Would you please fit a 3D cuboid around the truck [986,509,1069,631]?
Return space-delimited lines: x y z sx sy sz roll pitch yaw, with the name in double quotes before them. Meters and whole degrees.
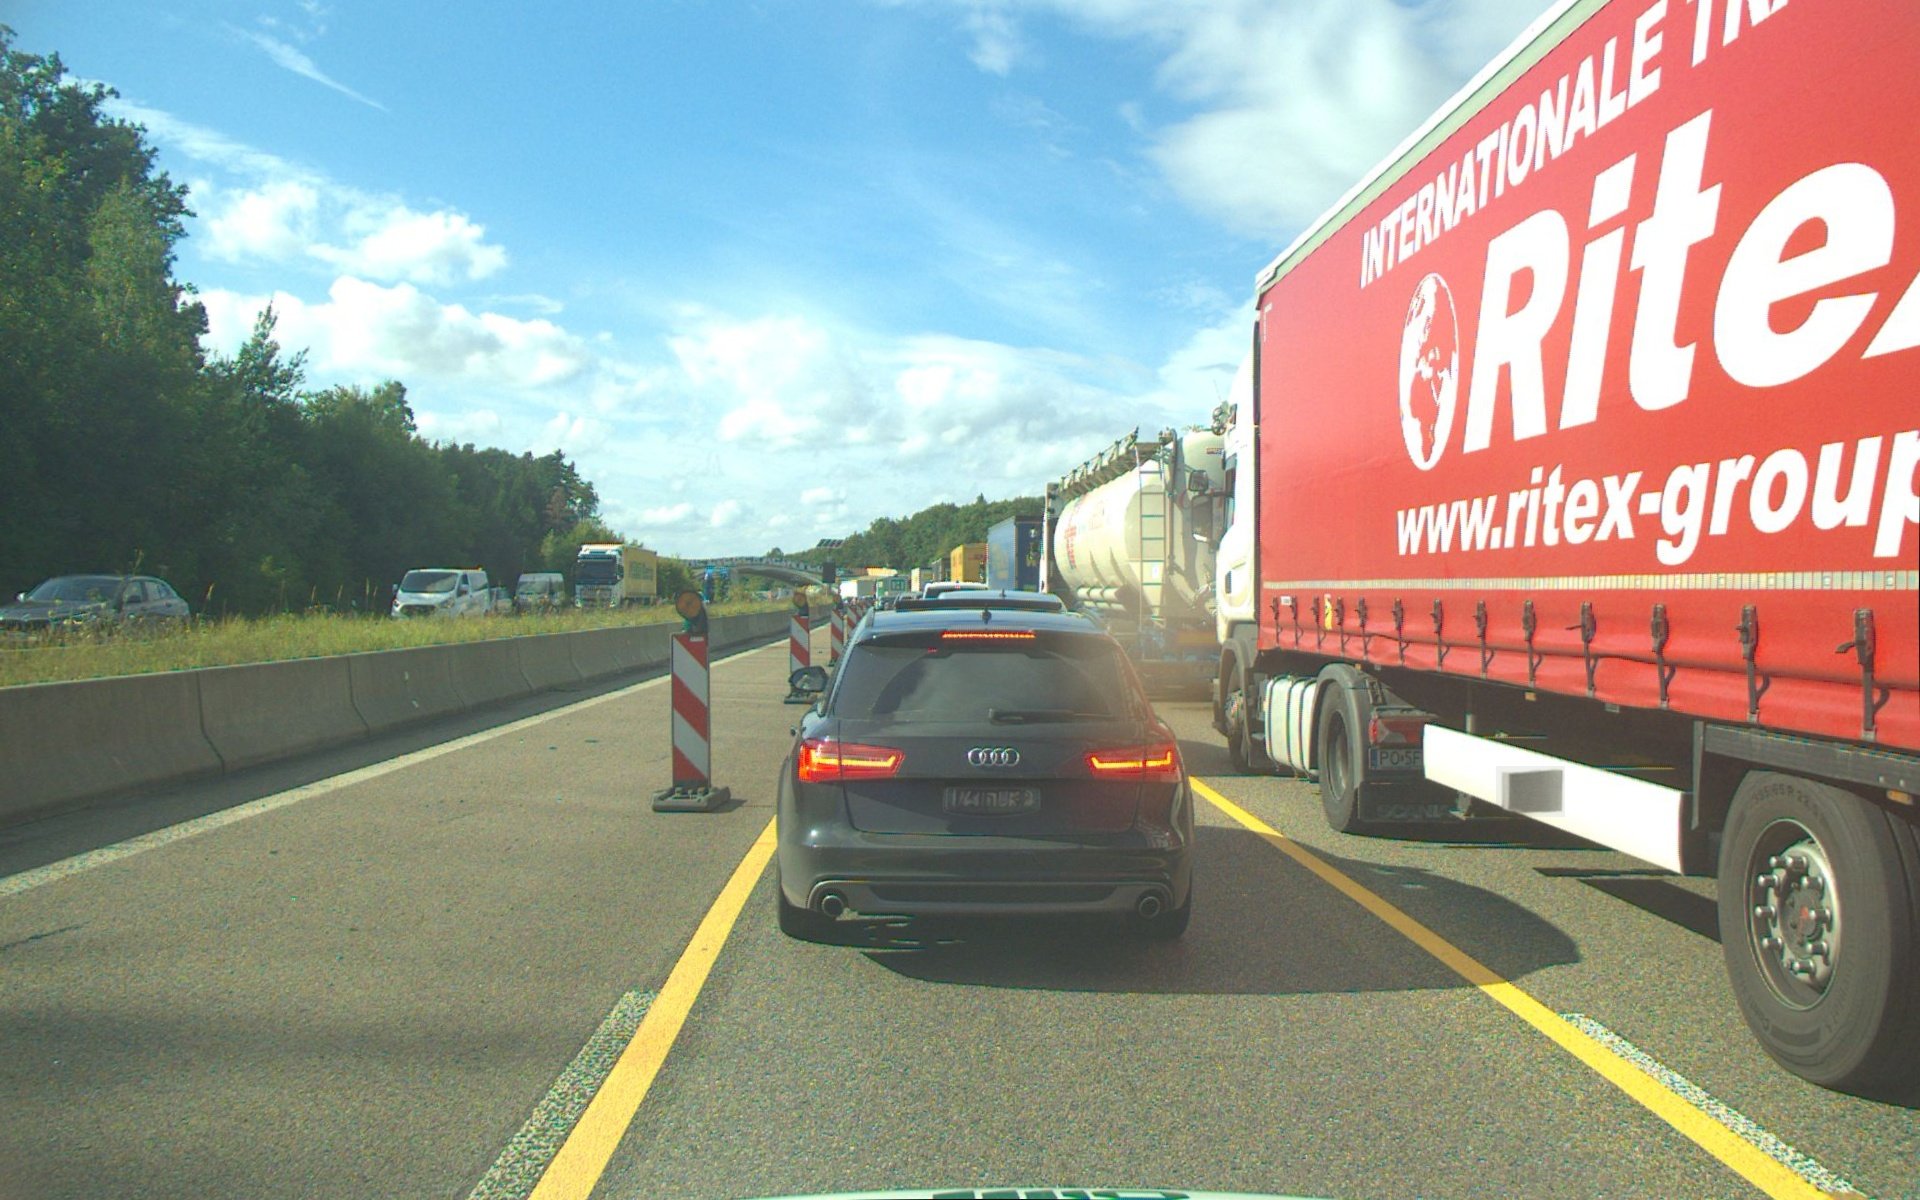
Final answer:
"truck" 2.563 -1.087 65.102 2.749 4.446 7.790 1 0 -1

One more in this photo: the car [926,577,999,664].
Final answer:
"car" 0.025 0.450 37.454 1.549 1.869 3.111 1 0 -1

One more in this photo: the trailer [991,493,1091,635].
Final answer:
"trailer" 2.693 -1.121 57.977 2.748 4.490 10.430 1 0 -1

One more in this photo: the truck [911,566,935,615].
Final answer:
"truck" -3.395 -0.842 152.348 2.094 4.332 7.069 1 0 -1

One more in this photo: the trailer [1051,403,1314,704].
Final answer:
"trailer" 3.348 -0.627 28.568 2.590 4.012 12.595 1 0 -1

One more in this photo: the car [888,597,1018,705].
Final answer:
"car" -0.116 0.694 23.983 1.716 1.421 3.607 1 0 -1

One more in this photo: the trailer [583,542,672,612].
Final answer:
"trailer" -20.344 -1.302 102.146 2.770 3.991 13.937 1 0 -1

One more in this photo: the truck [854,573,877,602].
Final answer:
"truck" -14.070 -1.807 246.159 3.239 4.248 9.694 1 0 -4

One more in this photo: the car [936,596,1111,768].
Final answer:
"car" 0.528 0.720 15.957 1.493 1.464 3.284 1 0 -1

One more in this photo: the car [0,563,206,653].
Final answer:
"car" -14.830 0.132 28.294 1.918 1.386 4.287 1 0 -1

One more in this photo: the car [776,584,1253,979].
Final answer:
"car" 0.184 0.704 8.303 1.811 1.489 3.999 1 0 -1

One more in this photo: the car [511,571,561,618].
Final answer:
"car" -24.835 -0.304 97.076 2.208 2.689 5.010 1 0 -8

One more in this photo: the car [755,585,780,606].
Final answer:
"car" -18.830 -0.436 161.915 1.953 1.982 3.999 1 0 -1

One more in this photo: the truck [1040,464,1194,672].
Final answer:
"truck" 3.229 -0.614 35.436 2.605 4.041 5.777 1 0 -1

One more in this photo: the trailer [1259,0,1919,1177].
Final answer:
"trailer" 3.871 -0.461 6.364 2.645 4.038 13.413 1 0 -1

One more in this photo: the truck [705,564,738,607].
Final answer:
"truck" -24.341 -1.436 169.159 2.584 4.262 5.466 1 0 -1

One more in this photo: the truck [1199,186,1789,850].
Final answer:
"truck" 3.695 -0.505 12.988 2.614 4.029 5.709 1 0 -2

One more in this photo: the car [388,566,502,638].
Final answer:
"car" -15.440 0.070 49.830 1.953 2.049 4.830 1 0 -1

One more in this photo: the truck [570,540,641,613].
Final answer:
"truck" -20.245 -1.291 94.691 2.769 3.977 5.947 1 0 -1

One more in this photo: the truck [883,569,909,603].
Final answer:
"truck" -8.347 -1.753 214.232 3.238 4.248 9.696 1 0 -3

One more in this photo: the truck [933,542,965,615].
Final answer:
"truck" -0.844 -1.515 119.031 1.953 5.000 9.558 1 0 -2

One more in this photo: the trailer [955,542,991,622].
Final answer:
"trailer" 0.640 -0.889 85.701 1.584 3.987 6.487 1 0 -2
